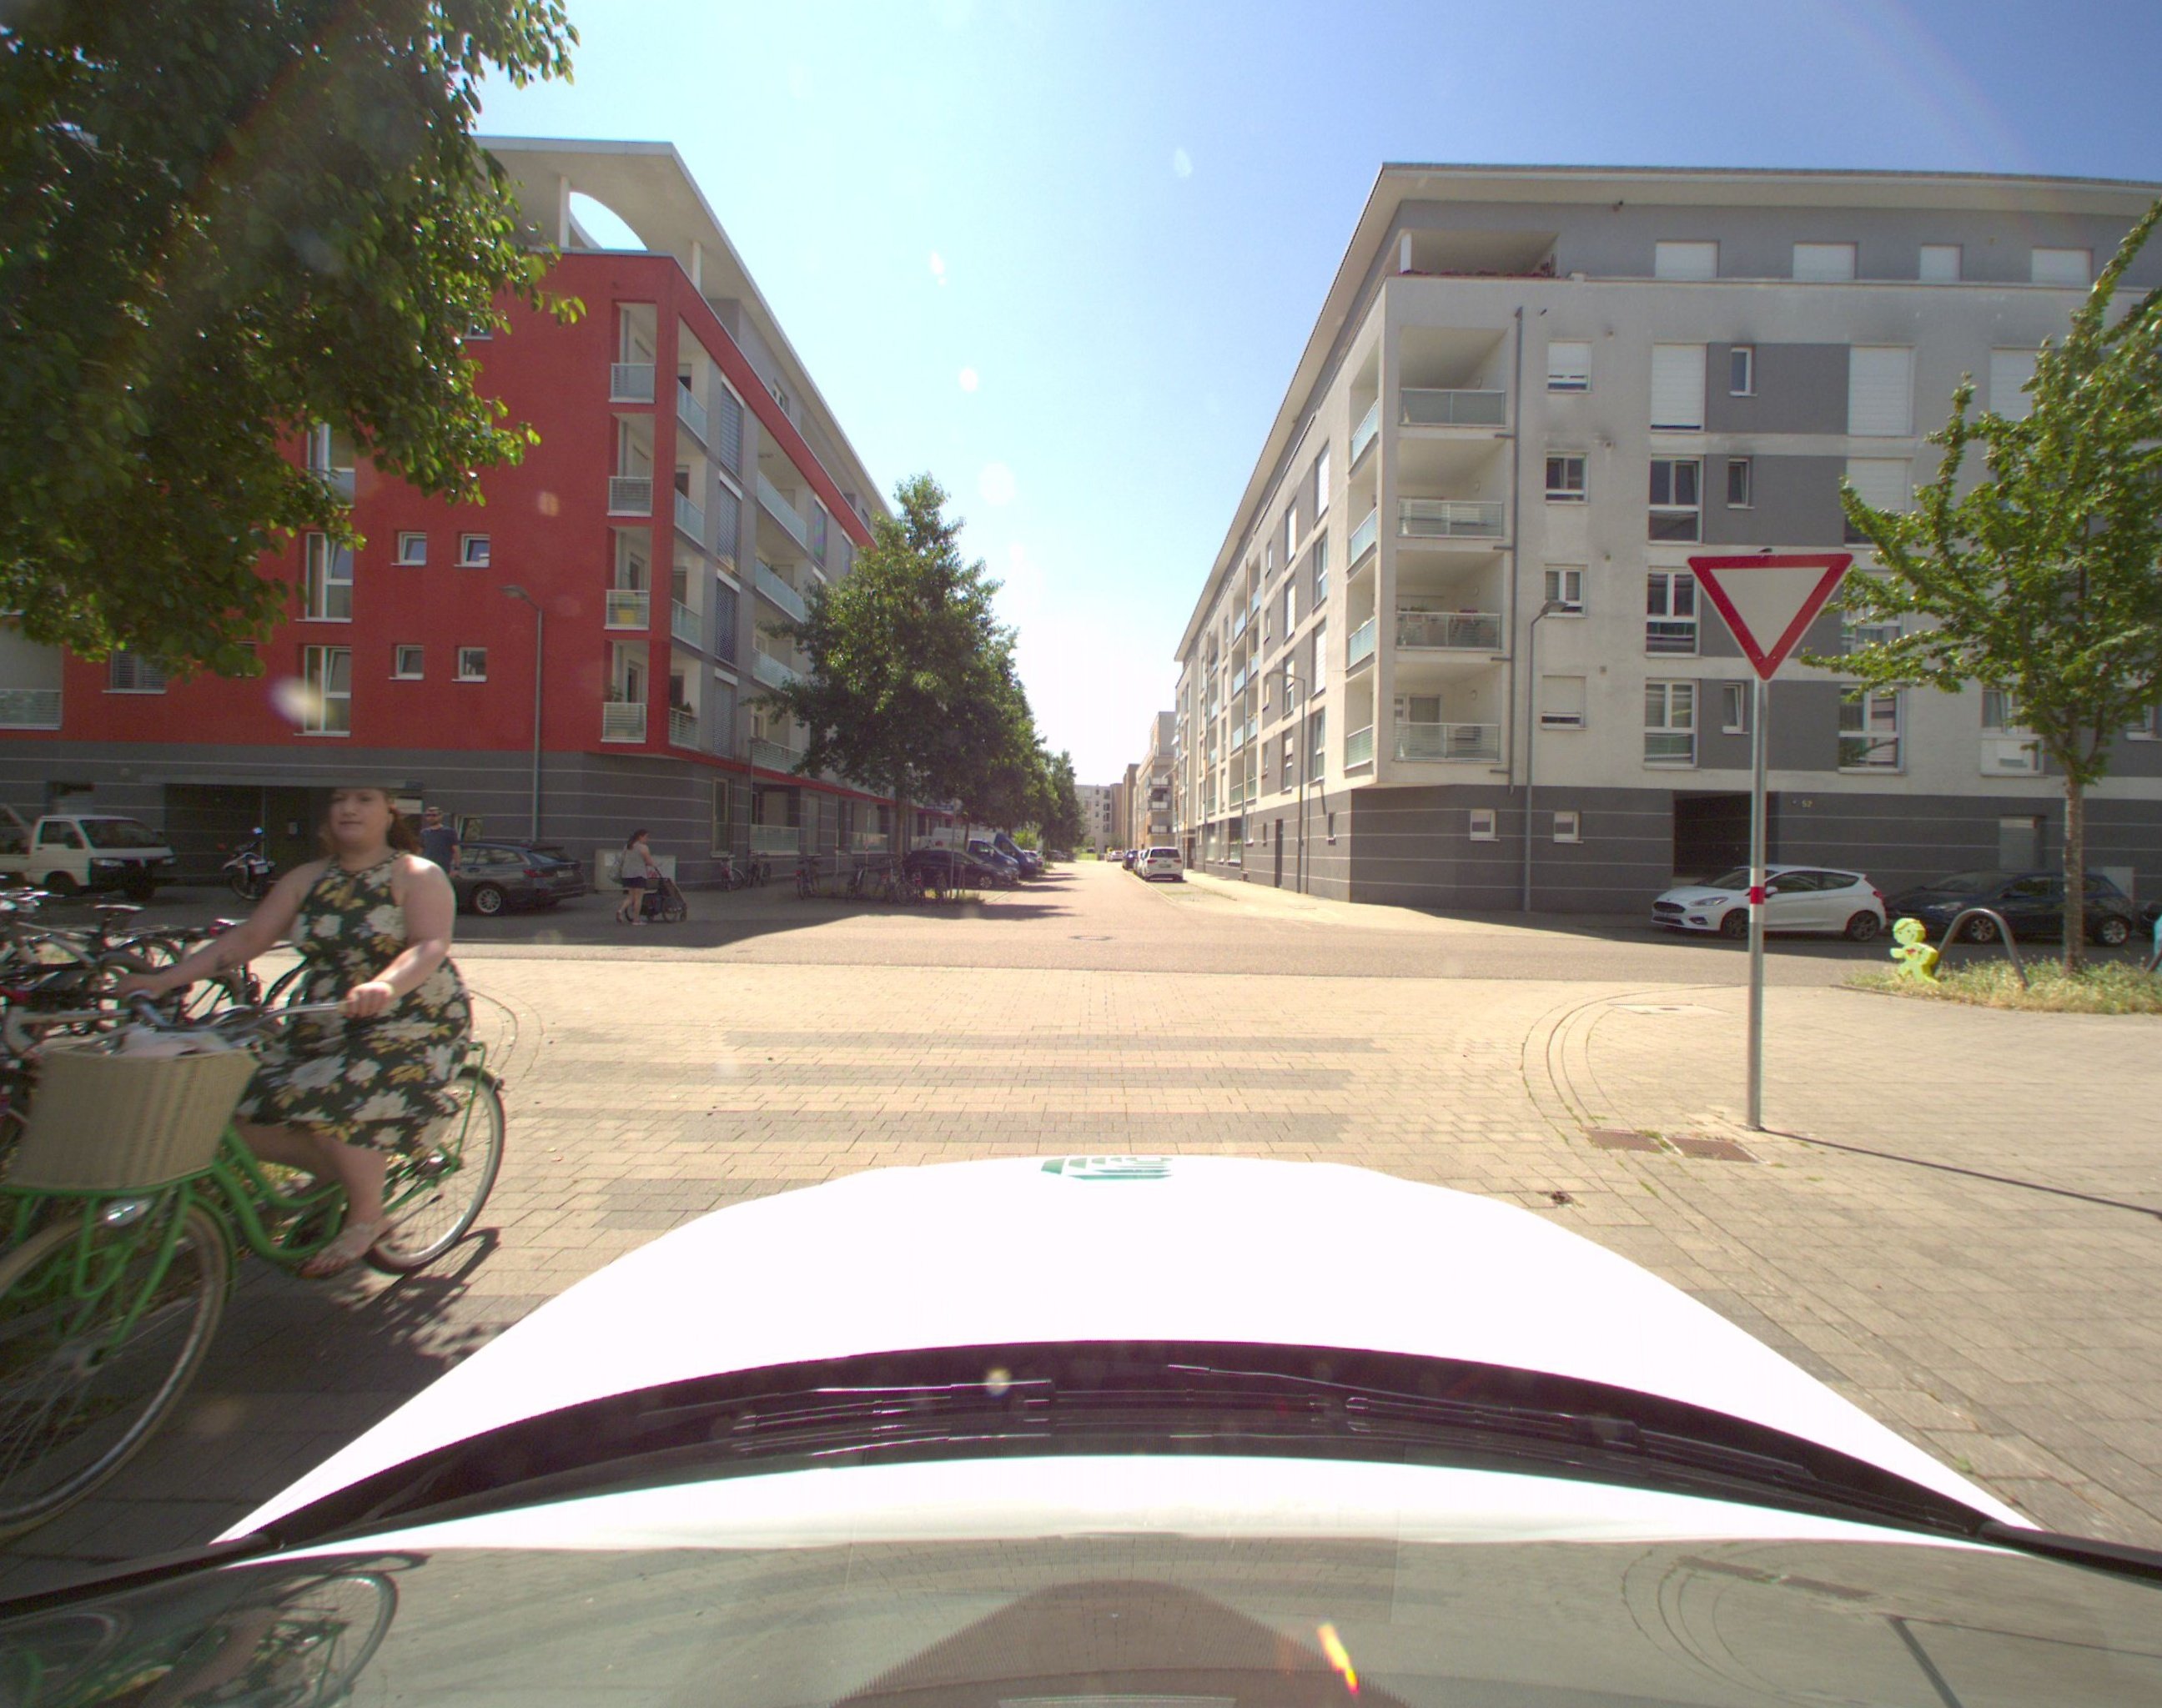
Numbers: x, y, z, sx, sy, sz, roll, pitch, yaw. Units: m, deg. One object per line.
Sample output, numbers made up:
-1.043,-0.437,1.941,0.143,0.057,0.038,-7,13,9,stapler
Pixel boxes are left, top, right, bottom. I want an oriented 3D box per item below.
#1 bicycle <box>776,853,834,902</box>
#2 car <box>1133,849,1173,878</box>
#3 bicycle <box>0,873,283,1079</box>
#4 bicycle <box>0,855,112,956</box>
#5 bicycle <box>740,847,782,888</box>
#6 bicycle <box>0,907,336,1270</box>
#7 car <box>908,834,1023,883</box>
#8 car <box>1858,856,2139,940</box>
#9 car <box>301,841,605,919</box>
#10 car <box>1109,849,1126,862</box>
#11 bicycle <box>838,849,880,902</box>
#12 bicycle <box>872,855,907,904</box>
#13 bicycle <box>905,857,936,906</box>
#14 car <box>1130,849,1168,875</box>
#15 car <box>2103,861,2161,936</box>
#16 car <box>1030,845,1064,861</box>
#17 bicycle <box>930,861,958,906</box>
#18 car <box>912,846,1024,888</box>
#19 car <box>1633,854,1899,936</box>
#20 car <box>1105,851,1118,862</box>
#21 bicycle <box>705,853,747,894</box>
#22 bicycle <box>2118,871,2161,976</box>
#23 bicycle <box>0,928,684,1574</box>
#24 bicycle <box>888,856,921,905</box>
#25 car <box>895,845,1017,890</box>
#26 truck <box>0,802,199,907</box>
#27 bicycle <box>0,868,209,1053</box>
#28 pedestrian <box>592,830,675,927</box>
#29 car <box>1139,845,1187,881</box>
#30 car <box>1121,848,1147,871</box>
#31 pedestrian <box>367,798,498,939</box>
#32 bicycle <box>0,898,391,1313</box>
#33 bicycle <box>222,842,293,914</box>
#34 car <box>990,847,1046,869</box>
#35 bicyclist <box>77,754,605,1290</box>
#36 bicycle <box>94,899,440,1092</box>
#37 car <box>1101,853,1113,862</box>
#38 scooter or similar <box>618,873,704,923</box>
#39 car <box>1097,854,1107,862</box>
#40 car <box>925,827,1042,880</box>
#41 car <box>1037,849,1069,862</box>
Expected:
-7.350,0.585,21.781,0.687,1.170,2.224,3,1,1,bicycle
3.917,0.480,44.856,1.986,1.524,4.001,0,0,1,car
-6.669,0.728,5.566,0.707,1.135,1.836,0,0,-5,bicycle
-12.149,0.561,8.882,0.707,1.092,2.100,0,0,-3,bicycle
-10.110,0.404,25.797,0.549,1.240,1.925,0,0,0,bicycle
-4.030,0.855,3.364,0.434,1.128,1.971,0,0,-11,bicycle
-5.478,0.208,39.196,5.127,2.119,2.312,2,1,0,car
18.546,0.845,16.590,3.778,1.558,1.727,1,0,0,car
-12.514,0.482,16.482,4.560,1.383,1.936,1,2,-2,car
4.784,0.128,107.821,1.987,1.675,3.999,1,0,0,car
-5.948,0.549,21.940,0.591,1.331,1.813,0,1,2,bicycle
-5.182,0.665,22.144,0.517,1.204,1.751,2,1,-1,bicycle
-4.291,0.720,21.880,0.569,1.174,1.765,4,1,-6,bicycle
4.112,0.456,49.684,1.987,1.524,3.999,0,0,0,car
23.763,0.943,16.541,3.861,1.485,1.832,1,2,-3,car
-4.295,-0.118,103.469,3.965,2.013,2.004,1,0,7,car
-3.699,0.780,22.096,0.464,1.141,1.925,1,0,-1,bicycle
-4.725,0.519,34.557,4.368,1.542,1.878,2,0,0,car
13.893,0.798,16.695,3.975,1.469,1.755,1,3,-1,car
5.085,0.394,135.051,1.987,1.717,3.999,1,0,0,car
-10.075,0.523,23.170,0.607,1.107,2.099,1,0,-10,bicycle
13.571,0.849,9.164,0.784,1.238,2.237,1,0,-26,bicycle
-2.274,0.914,2.700,0.895,1.129,2.040,1,0,0,bicycle
-4.723,0.683,21.889,0.432,1.204,1.700,2,1,2,bicycle
-4.839,0.503,32.006,4.368,1.515,2.075,3,0,0,car
-20.687,-0.029,16.521,3.721,2.013,1.559,1,3,-2,truck
-7.376,0.704,5.544,0.744,1.173,1.924,0,0,3,bicycle
-8.008,0.424,14.620,0.996,1.690,0.832,1,0,1,pedestrian
3.901,0.396,39.154,1.990,1.657,4.116,0,0,1,car
3.882,0.390,59.266,1.749,1.552,4.005,1,0,4,car
-9.635,0.201,12.158,1.004,2.013,1.130,0,0,4,pedestrian
-3.670,0.830,3.390,0.371,1.180,1.814,0,0,-11,bicycle
-16.904,0.450,16.702,2.320,1.378,0.687,1,0,37,bicycle
-4.748,0.309,61.829,3.971,1.618,2.002,1,0,2,car
-2.260,0.459,2.632,0.950,1.459,0.800,1,0,0,bicyclist
-5.317,0.857,5.498,0.531,0.990,1.678,3,0,3,bicycle
4.722,0.572,149.119,1.987,1.519,3.999,1,0,0,car
-7.959,0.823,15.493,1.064,0.888,1.019,1,0,2,scooter or similar
4.378,0.867,170.373,1.985,1.519,4.003,1,0,3,car
-5.257,-0.025,44.626,6.003,2.816,2.605,0,0,0,car
-3.624,0.163,106.061,3.966,1.602,2.004,1,0,7,car
